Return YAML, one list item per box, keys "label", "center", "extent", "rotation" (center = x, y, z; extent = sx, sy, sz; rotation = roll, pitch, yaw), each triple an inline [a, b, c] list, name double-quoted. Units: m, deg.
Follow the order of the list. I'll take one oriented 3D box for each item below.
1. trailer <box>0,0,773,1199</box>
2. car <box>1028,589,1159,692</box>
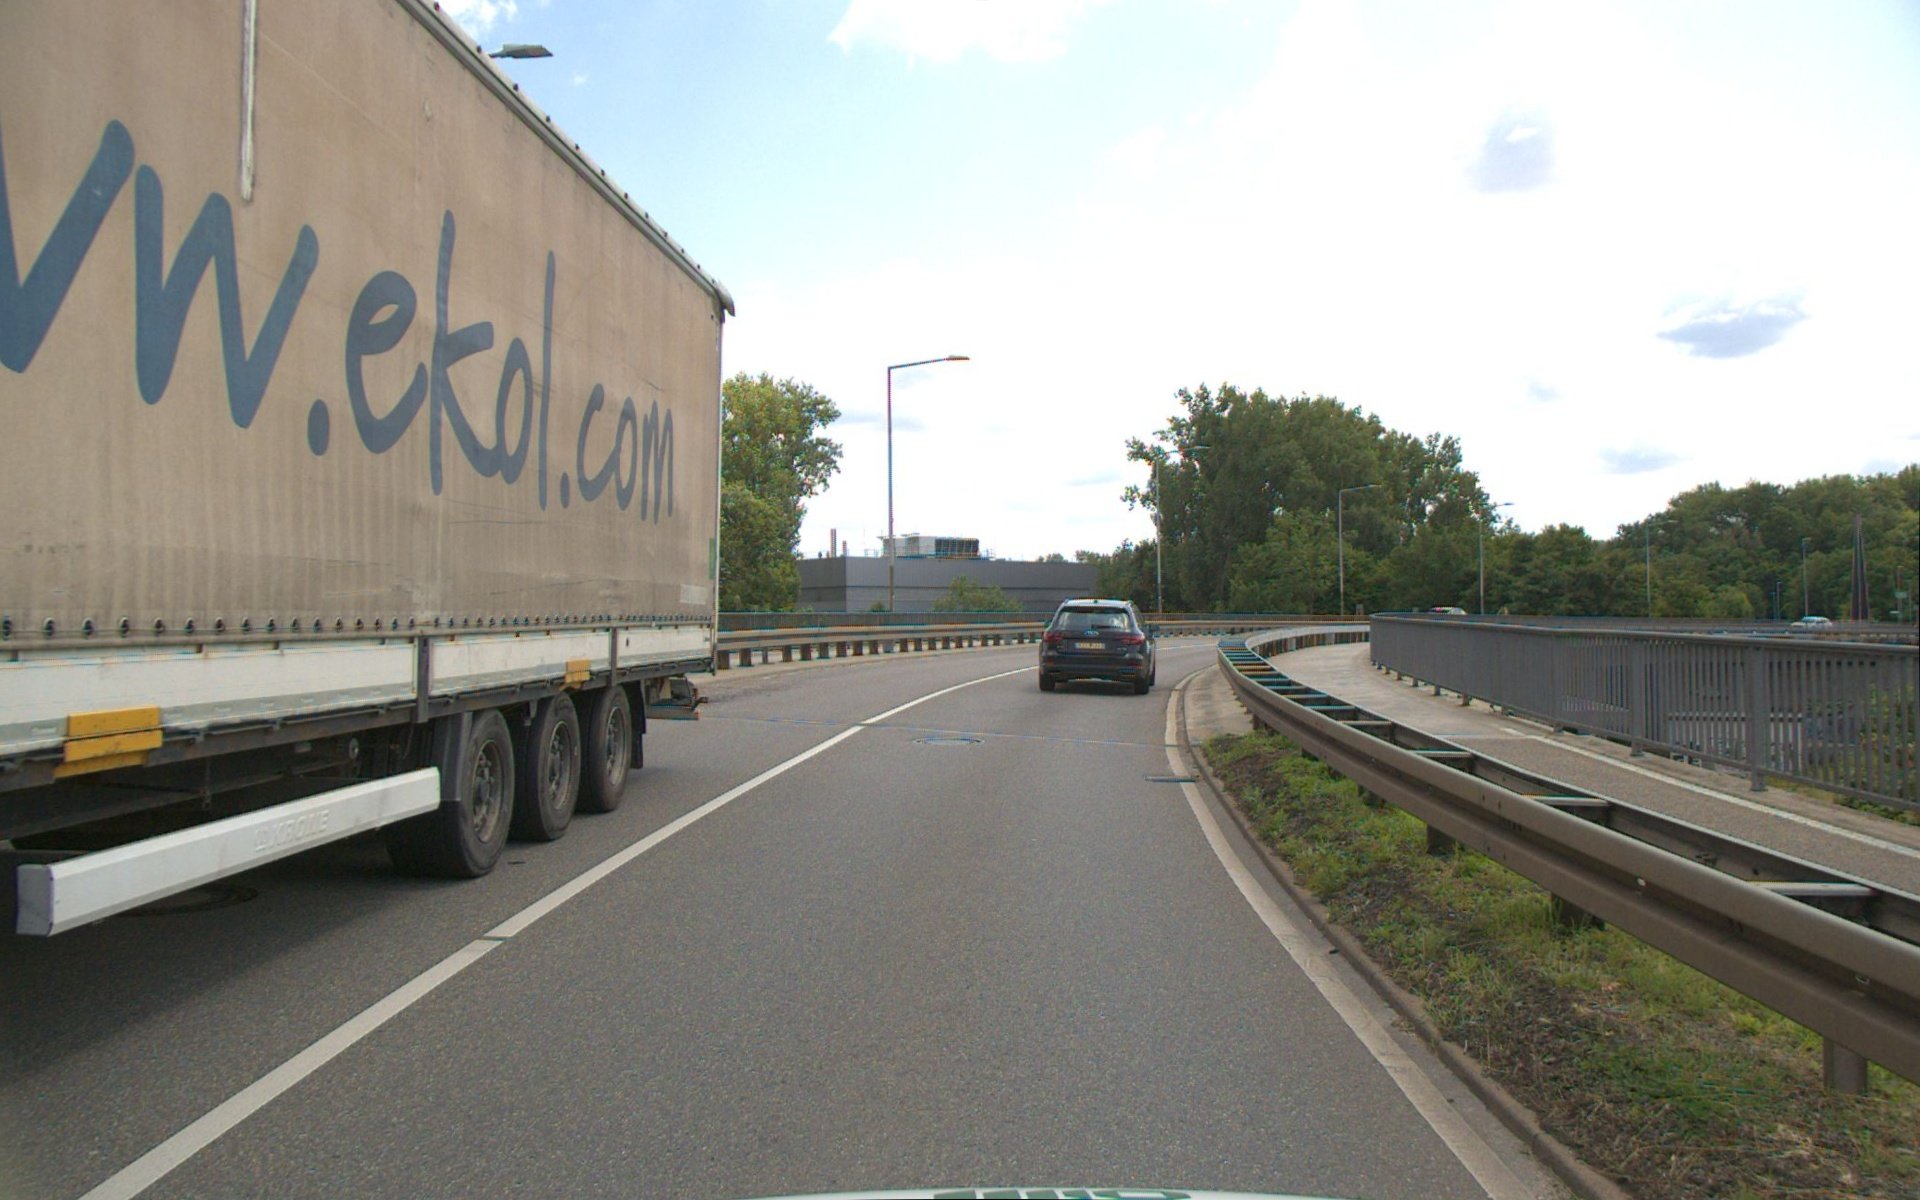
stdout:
- label: "trailer"
  center: [-3.505, -0.669, 9.031]
  extent: [2.650, 4.354, 14.237]
  rotation: [0, 0, 3]
- label: "car"
  center: [2.271, 0.600, 27.252]
  extent: [1.789, 1.518, 4.210]
  rotation: [1, 1, 9]
